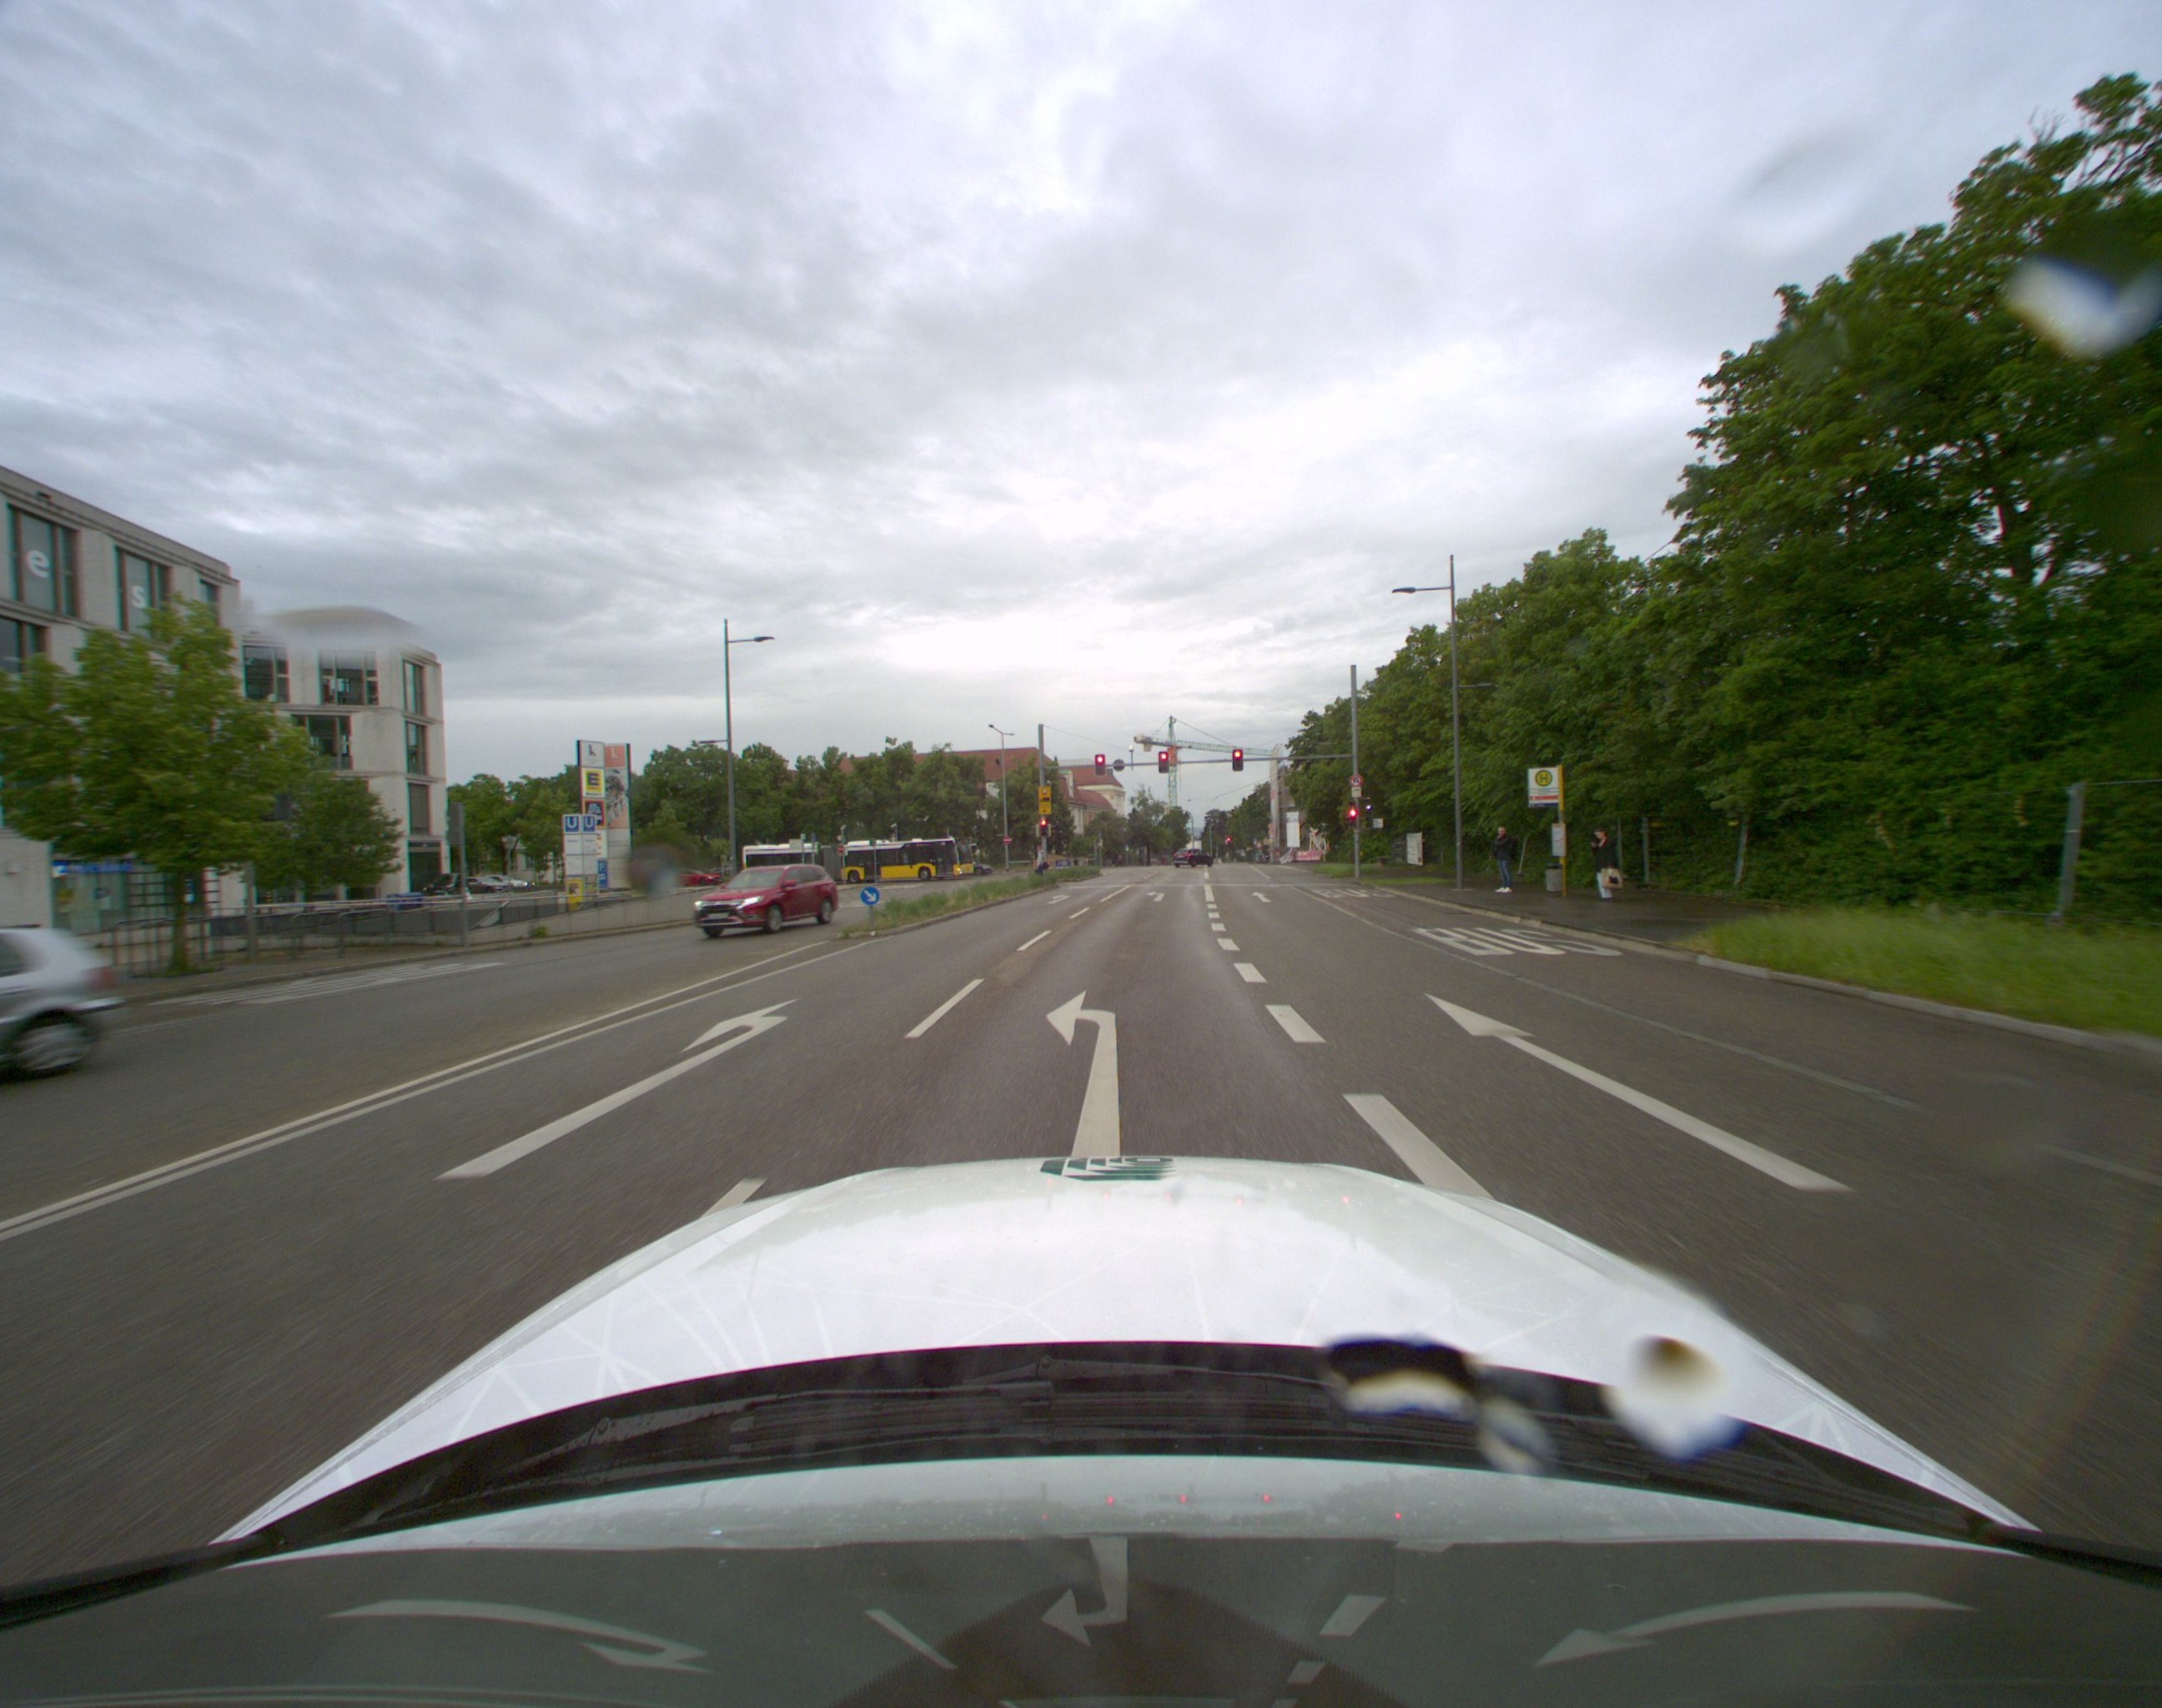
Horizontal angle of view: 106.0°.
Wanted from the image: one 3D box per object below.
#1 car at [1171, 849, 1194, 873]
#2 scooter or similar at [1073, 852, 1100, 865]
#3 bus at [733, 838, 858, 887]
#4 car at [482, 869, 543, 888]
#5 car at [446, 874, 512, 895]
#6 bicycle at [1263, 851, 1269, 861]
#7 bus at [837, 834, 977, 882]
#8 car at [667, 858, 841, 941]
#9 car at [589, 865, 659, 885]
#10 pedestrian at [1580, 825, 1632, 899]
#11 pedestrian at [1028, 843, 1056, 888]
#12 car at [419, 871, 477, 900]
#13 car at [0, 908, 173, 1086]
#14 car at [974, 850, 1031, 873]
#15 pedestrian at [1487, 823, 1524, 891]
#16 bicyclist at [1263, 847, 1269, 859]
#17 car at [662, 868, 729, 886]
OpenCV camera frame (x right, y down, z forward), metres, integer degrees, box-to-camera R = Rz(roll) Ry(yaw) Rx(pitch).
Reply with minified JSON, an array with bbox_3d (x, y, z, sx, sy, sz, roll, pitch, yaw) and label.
[{"bbox_3d":[9.012,0.656,71.941,1.933,2.021,4.561,0,-1,8],"label":"car"},{"bbox_3d":[0.693,0.594,98.392,3.072,1.440,0.950,-2,0,6],"label":"scooter or similar"},{"bbox_3d":[-21.542,0.642,61.618,8.491,3.307,2.907,-2,0,12],"label":"bus"},{"bbox_3d":[-46.202,1.951,66.244,3.753,1.425,1.849,-1,0,6],"label":"car"},{"bbox_3d":[-46.148,2.340,62.448,3.946,1.425,1.672,-1,0,6],"label":"car"},{"bbox_3d":[23.877,0.286,105.034,0.716,1.193,1.760,0,-1,10],"label":"bicycle"},{"bbox_3d":[-12.695,0.279,59.278,9.647,3.103,2.911,-2,0,18],"label":"bus"},{"bbox_3d":[-8.051,1.033,20.659,1.843,1.683,4.748,-4,0,8],"label":"car"},{"bbox_3d":[-35.664,1.640,63.616,4.423,1.425,2.004,-1,0,6],"label":"car"},{"bbox_3d":[12.149,0.171,18.858,0.673,1.658,0.793,-2,0,3],"label":"pedestrian"},{"bbox_3d":[-1.819,0.530,38.063,0.933,2.013,0.850,-5,-1,13],"label":"pedestrian"},{"bbox_3d":[-41.822,2.027,53.905,1.779,1.731,3.973,-2,0,-20],"label":"car"},{"bbox_3d":[-10.112,1.314,6.186,1.752,1.416,3.888,-4,0,8],"label":"car"},{"bbox_3d":[-6.009,0.598,62.646,3.965,1.706,2.004,0,-1,7],"label":"car"},{"bbox_3d":[12.246,0.085,23.497,0.638,1.901,0.719,-2,0,3],"label":"pedestrian"},{"bbox_3d":[23.874,-0.108,105.041,0.716,1.564,1.146,0,-1,10],"label":"bicyclist"},{"bbox_3d":[-31.651,1.856,66.914,4.547,1.425,2.004,0,-1,8],"label":"car"}]
